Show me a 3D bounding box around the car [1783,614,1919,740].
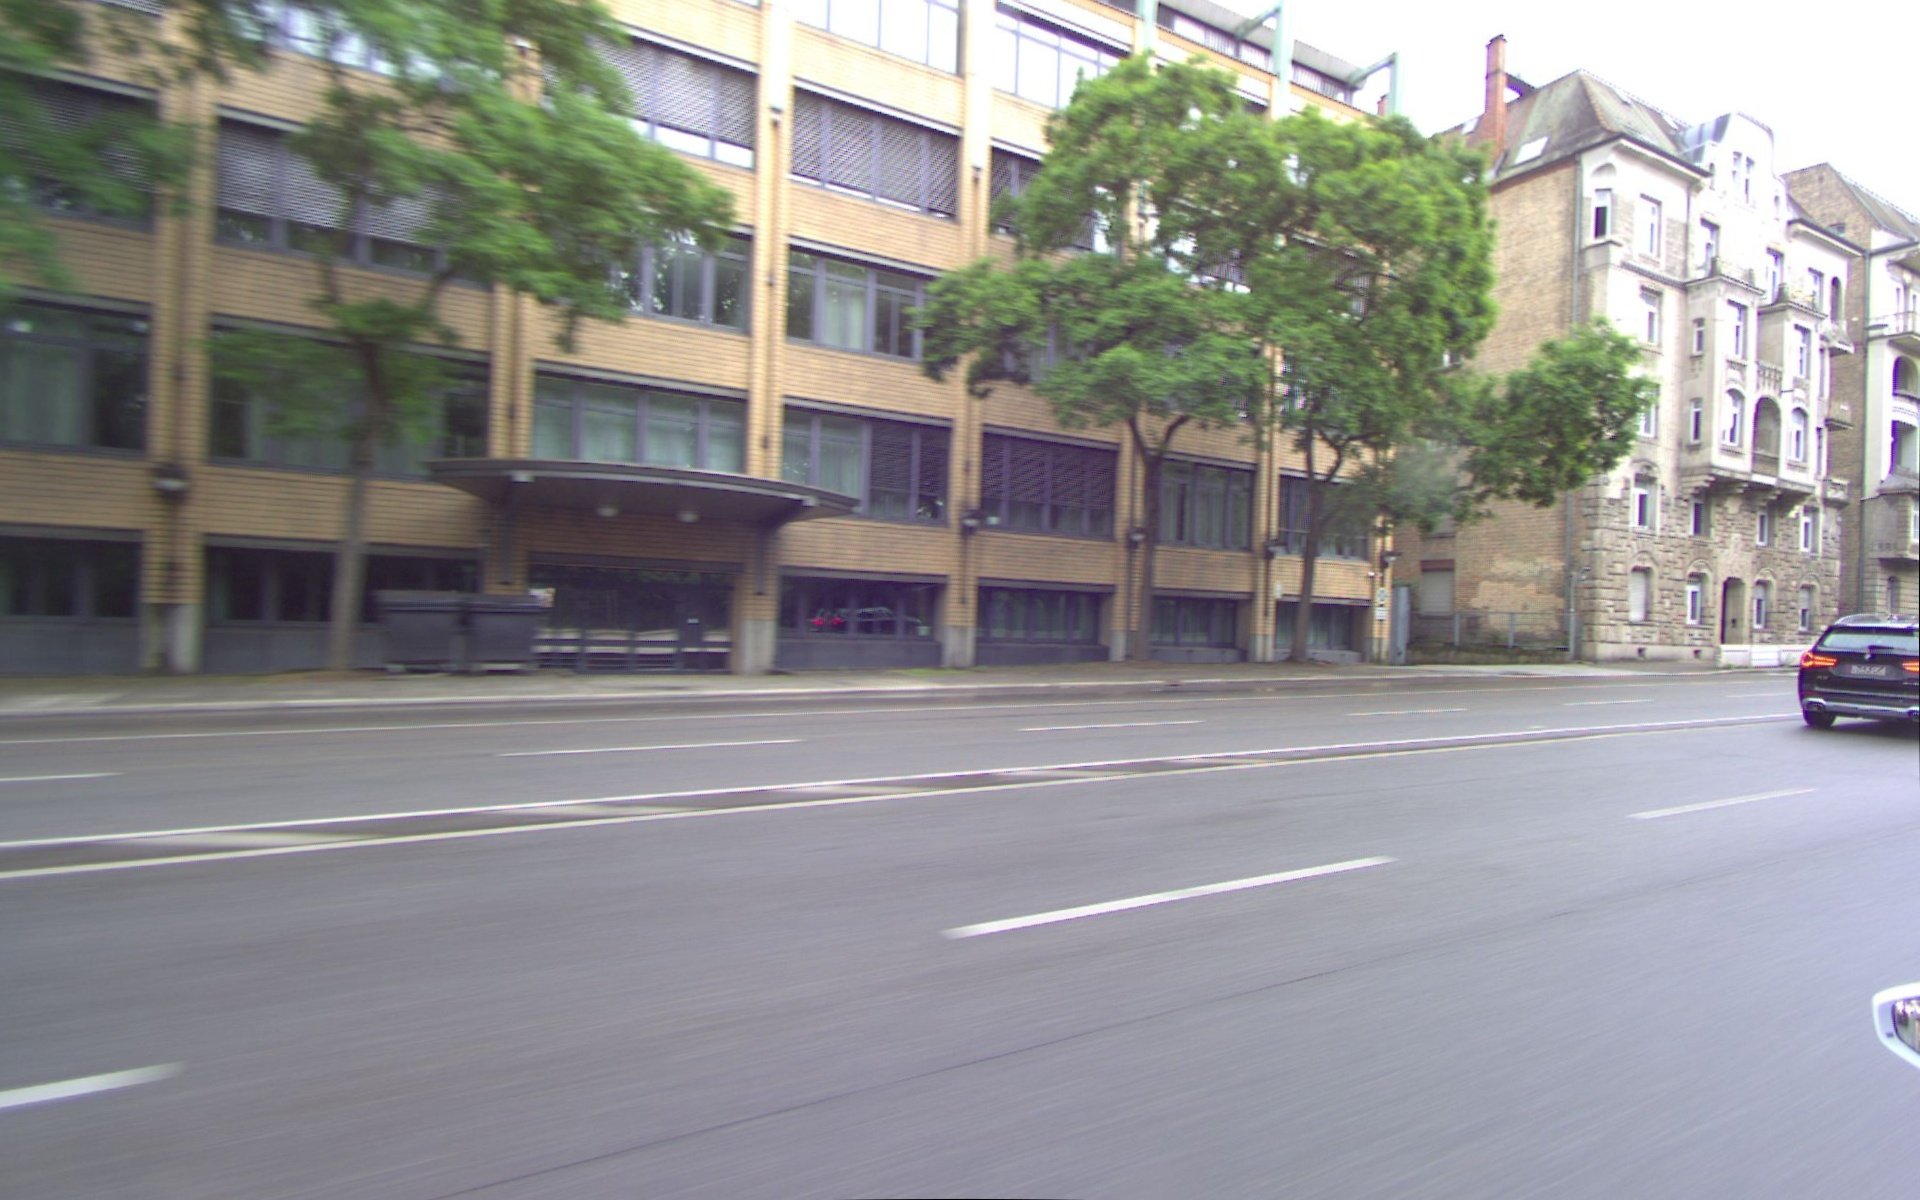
[{"bbox_3d":[14.085,1.070,14.700,4.361,1.607,1.749,2,0,-31],"label":"car"}]

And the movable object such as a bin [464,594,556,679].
[{"bbox_3d":[-8.209,0.650,18.321,1.358,1.455,1.061,1,1,-34],"label":"movable object such as a bin"}]

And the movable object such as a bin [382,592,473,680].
[{"bbox_3d":[-9.318,0.615,17.568,1.301,1.455,0.966,1,1,-35],"label":"movable object such as a bin"}]
